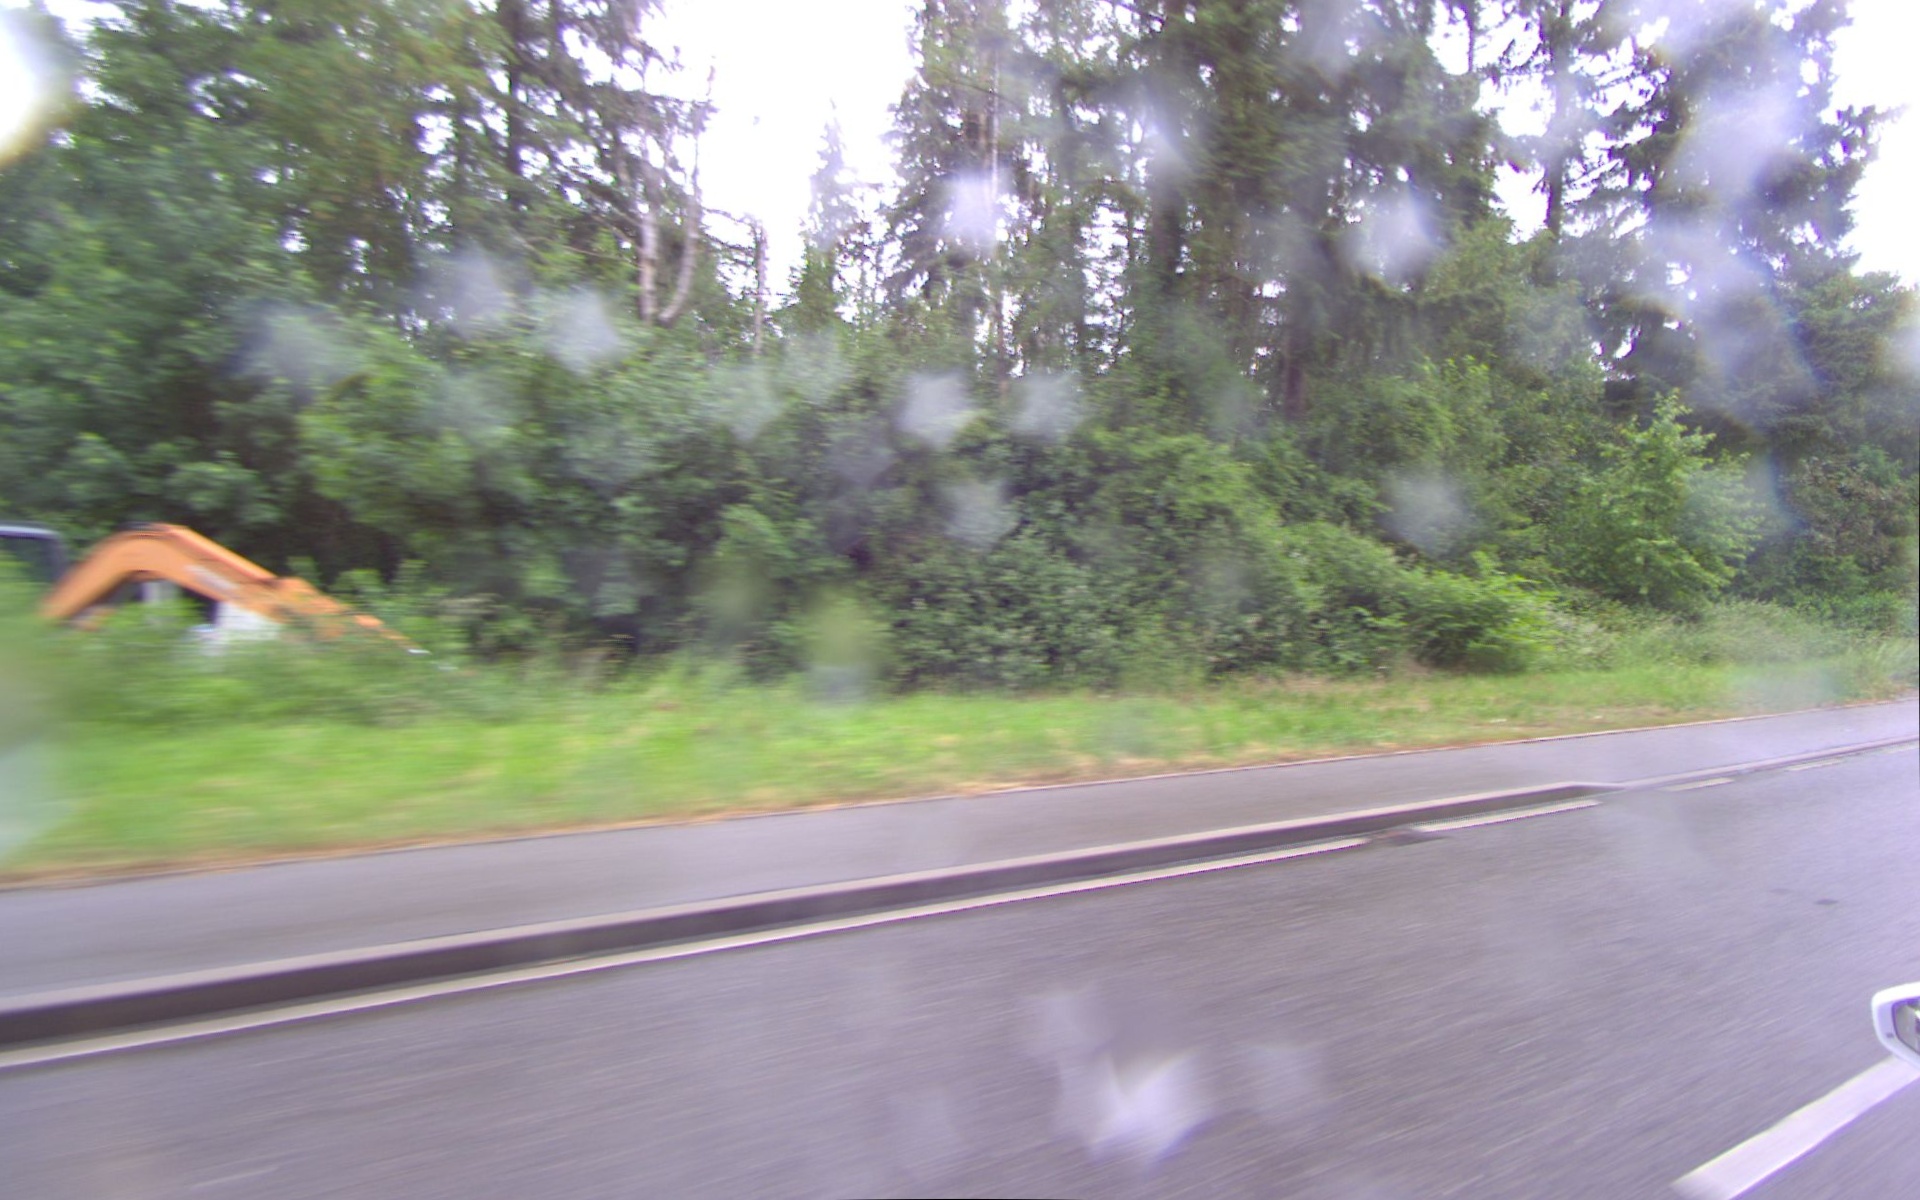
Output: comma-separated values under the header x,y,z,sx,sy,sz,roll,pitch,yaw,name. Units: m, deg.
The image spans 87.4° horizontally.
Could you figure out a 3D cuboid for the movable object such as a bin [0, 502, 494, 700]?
x,y,z,sx,sy,sz,roll,pitch,yaw,name
-9.556,-0.040,11.281,7.751,1.933,1.852,2,0,1,movable object such as a bin
